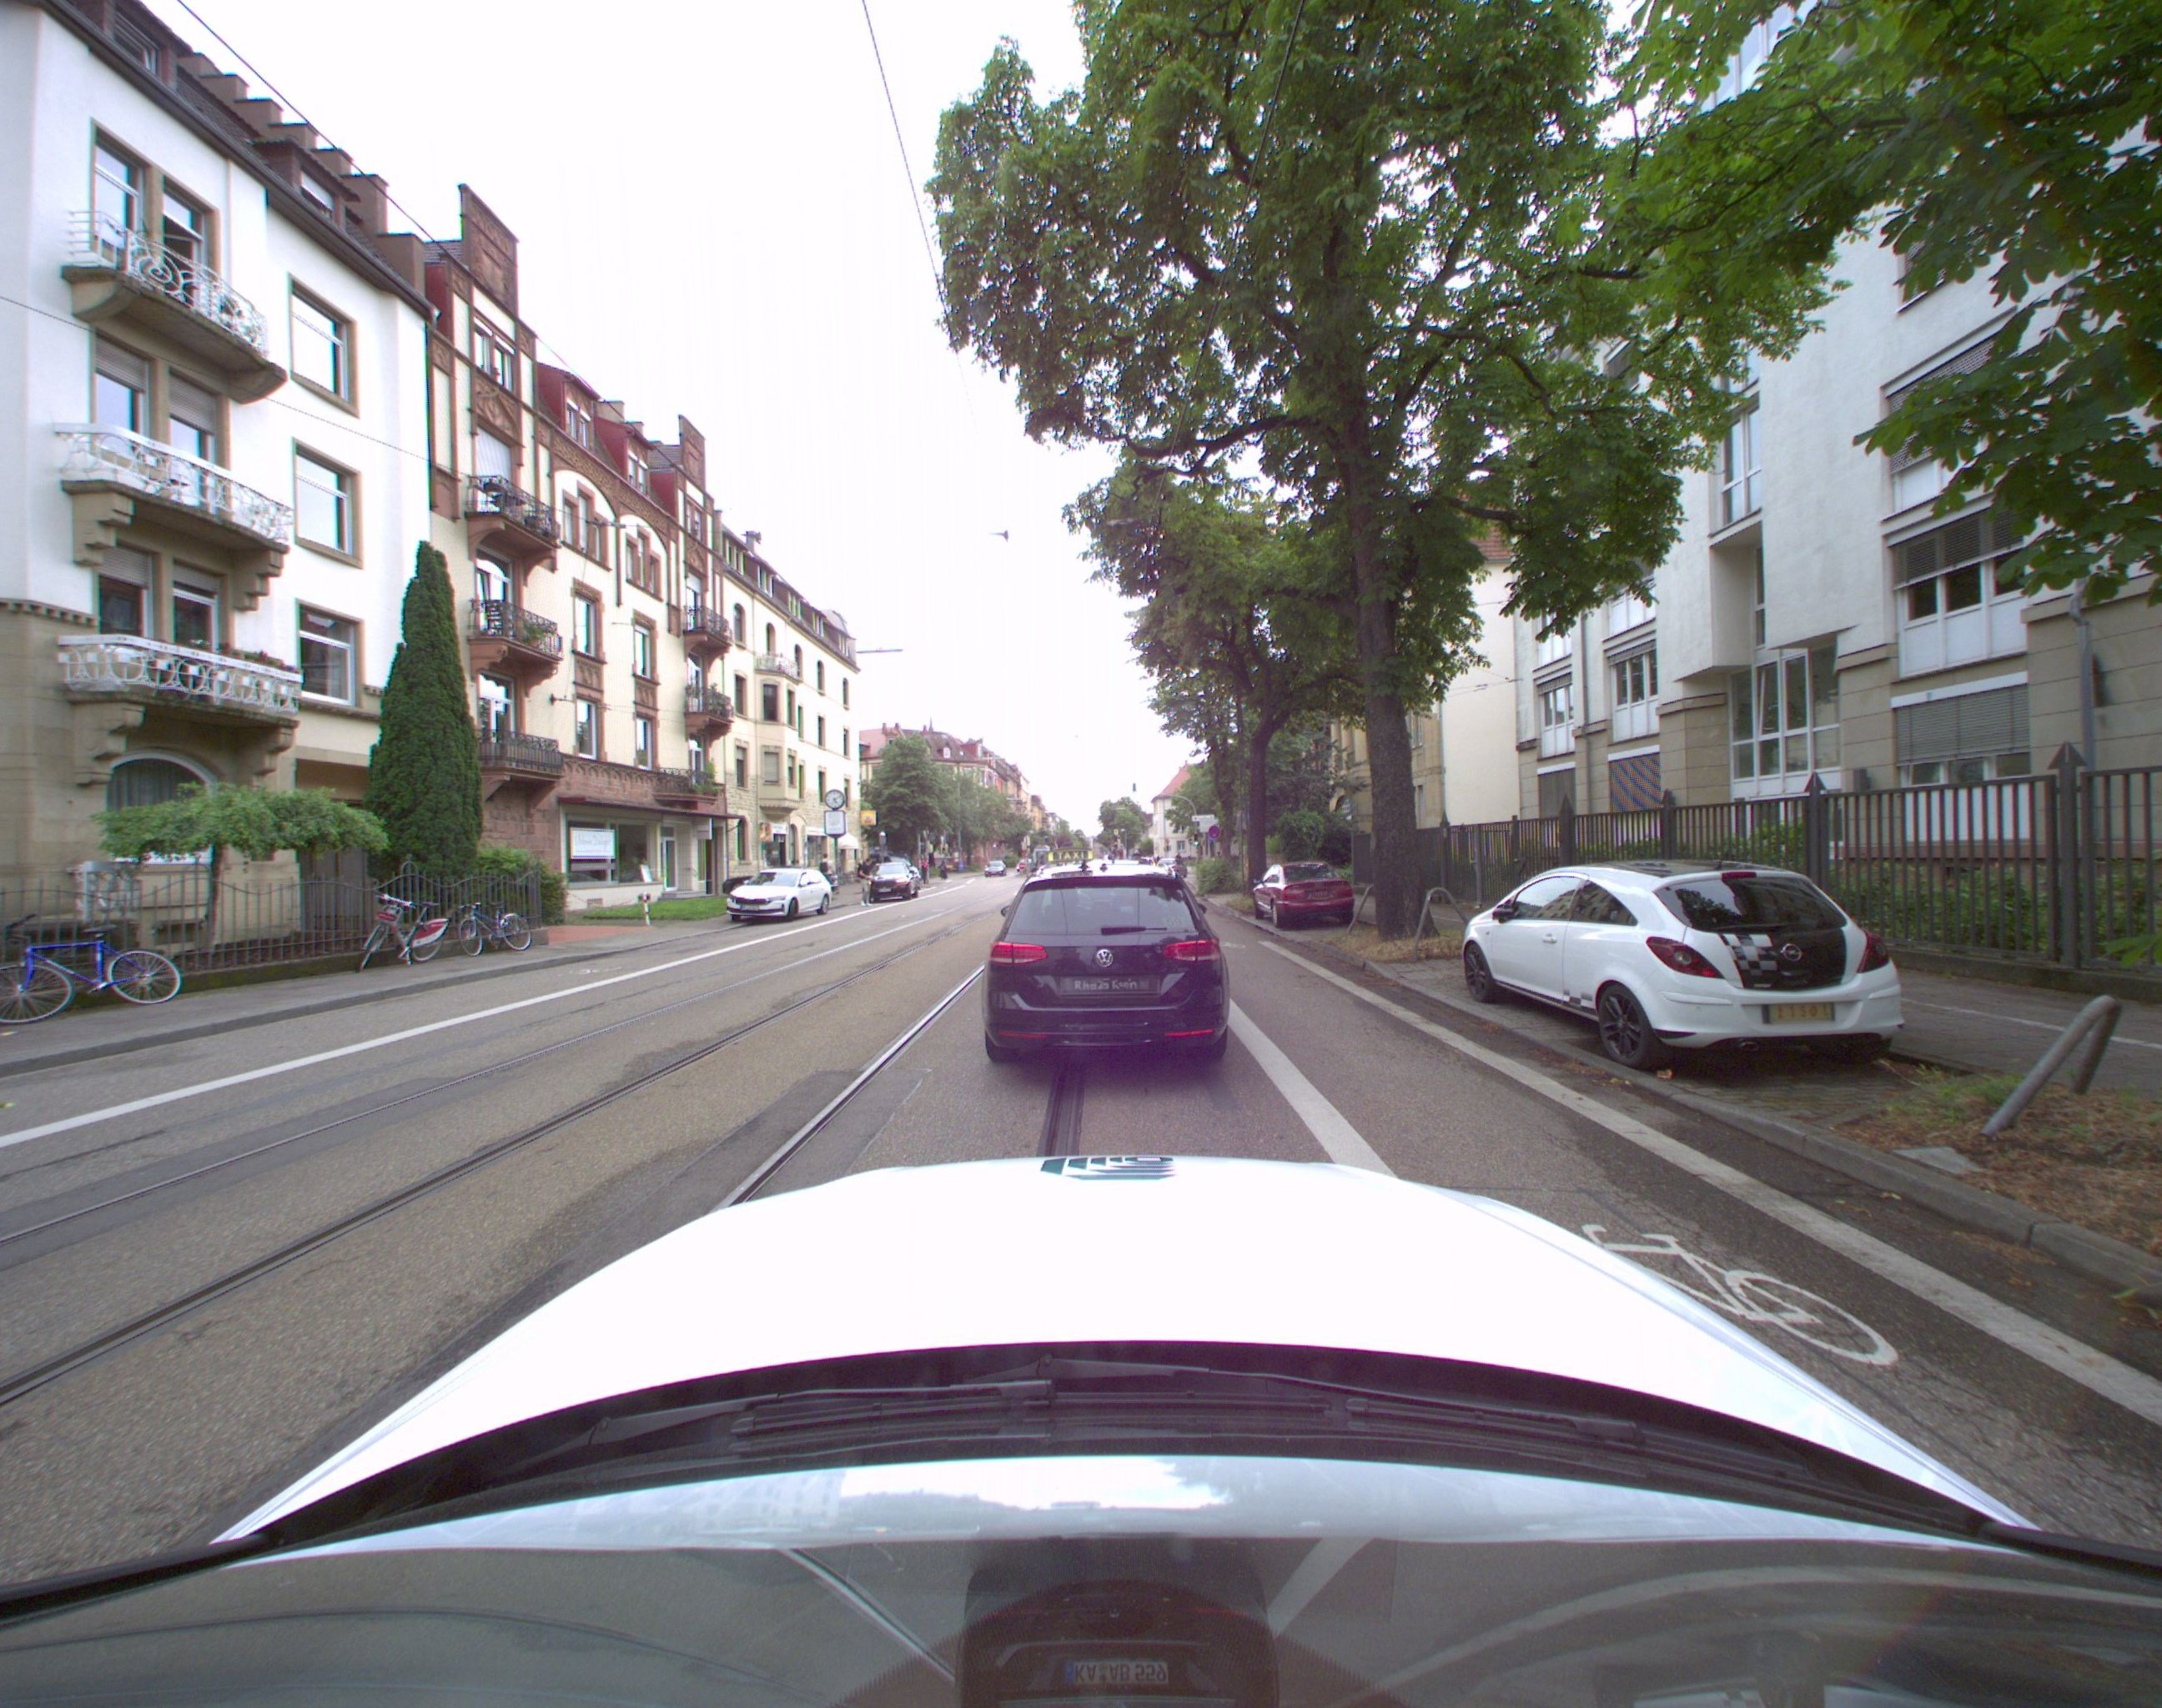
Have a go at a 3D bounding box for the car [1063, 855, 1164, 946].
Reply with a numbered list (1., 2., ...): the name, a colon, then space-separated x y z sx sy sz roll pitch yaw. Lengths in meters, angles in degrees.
1. car: 0.633 0.816 16.167 1.717 1.546 4.002 -1 0 2

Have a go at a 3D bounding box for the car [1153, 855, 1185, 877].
1. car: 6.373 0.872 59.383 1.986 1.577 4.001 -1 -1 2

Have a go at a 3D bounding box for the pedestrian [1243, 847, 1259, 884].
1. pedestrian: 8.622 0.586 41.264 0.630 1.815 0.726 -2 -1 -1

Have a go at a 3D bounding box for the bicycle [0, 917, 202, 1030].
1. bicycle: -10.864 1.266 8.894 0.356 0.928 1.663 -21 -1 4

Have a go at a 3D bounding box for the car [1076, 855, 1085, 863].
1. car: -0.097 1.134 181.969 1.715 1.622 3.864 -2 0 1

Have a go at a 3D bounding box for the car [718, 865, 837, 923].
1. car: -8.937 1.115 24.430 1.741 1.484 4.609 -2 0 1

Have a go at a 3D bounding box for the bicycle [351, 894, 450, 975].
1. bicycle: -10.588 1.217 12.730 0.385 1.102 1.620 -2 0 -9

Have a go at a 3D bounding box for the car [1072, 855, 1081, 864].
1. car: -0.916 1.123 167.660 1.715 1.622 3.864 -2 0 1

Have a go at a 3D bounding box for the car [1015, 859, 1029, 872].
1. car: -7.340 1.405 101.388 1.695 1.496 3.925 -3 0 -3

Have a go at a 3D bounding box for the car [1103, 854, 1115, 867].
1. car: 4.684 1.114 136.307 2.025 2.014 4.001 -1 -1 2

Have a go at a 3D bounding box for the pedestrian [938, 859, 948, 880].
1. pedestrian: -11.425 1.294 67.414 0.587 1.663 0.839 -2 0 1

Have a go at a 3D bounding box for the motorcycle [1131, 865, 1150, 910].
1. motorcycle: 1.757 0.963 24.017 0.445 1.235 1.907 -2 0 2

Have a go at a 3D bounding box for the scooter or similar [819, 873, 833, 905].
1. scooter or similar: -10.392 1.413 33.195 0.230 1.234 0.954 -2 0 2

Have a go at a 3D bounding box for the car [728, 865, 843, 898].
1. car: -13.010 1.207 36.064 4.415 1.370 1.878 1 0 -3

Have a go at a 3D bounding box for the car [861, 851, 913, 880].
1. car: -17.166 1.062 71.760 2.197 2.417 5.316 -1 0 -41

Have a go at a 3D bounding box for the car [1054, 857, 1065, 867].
1. car: -3.684 1.423 142.355 1.715 1.622 3.864 -2 0 1

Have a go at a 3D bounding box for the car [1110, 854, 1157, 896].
1. car: 2.059 0.793 32.762 1.717 1.546 4.002 -1 0 2

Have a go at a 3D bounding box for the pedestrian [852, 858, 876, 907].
1. pedestrian: -8.291 1.080 31.109 0.671 1.844 0.875 -2 0 -24

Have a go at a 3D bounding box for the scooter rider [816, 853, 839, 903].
1. scooter rider: -10.353 0.980 33.280 0.639 2.013 0.758 -2 0 2

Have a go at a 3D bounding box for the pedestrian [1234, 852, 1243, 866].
1. pedestrian: 17.082 0.531 88.365 0.612 1.553 0.577 -1 -1 -37

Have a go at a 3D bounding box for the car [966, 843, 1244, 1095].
1. car: 0.214 0.725 7.111 1.717 1.546 4.002 -1 0 2

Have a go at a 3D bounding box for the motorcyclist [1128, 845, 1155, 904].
1. motorcyclist: 1.785 0.599 24.090 0.700 1.692 0.805 -2 0 2

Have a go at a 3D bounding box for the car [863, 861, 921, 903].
1. car: -8.279 1.193 36.090 1.881 1.611 4.875 -4 0 -7

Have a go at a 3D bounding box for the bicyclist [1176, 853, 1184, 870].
1. bicyclist: 9.244 0.655 76.229 0.647 1.568 0.697 -2 0 9

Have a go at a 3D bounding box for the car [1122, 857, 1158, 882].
1. car: 3.680 0.938 49.984 1.881 1.408 4.009 -2 0 8

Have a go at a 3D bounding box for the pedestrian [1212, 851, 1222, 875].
1. pedestrian: 10.402 0.673 62.361 0.510 1.831 0.420 -5 -1 18

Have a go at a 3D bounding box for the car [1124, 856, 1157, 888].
1. car: 3.082 0.929 42.716 1.600 1.556 3.579 -1 -1 2

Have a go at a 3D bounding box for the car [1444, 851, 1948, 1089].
1. car: 4.776 0.748 7.107 1.596 1.435 3.779 -4 0 3

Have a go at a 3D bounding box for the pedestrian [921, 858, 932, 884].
1. pedestrian: -10.896 1.203 57.382 0.621 1.842 0.609 -2 -1 -1

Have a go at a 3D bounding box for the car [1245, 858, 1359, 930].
1. car: 5.062 0.845 19.221 1.596 1.399 4.229 -4 0 2

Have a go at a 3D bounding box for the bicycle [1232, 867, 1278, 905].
1. bicycle: 5.708 1.032 26.635 1.915 1.198 0.428 0 -2 -43

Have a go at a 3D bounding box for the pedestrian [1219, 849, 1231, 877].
1. pedestrian: 9.896 0.617 56.052 0.582 1.831 0.605 -5 -1 4

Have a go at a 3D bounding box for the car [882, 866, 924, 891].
1. car: -10.574 1.436 48.666 1.643 1.361 4.128 1 0 -1

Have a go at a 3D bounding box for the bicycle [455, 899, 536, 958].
1. bicycle: -10.742 1.341 14.993 0.331 0.938 1.516 -2 0 1

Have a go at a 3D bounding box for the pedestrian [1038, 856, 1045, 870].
1. pedestrian: -4.518 1.034 93.895 0.711 1.521 0.590 -2 -1 3

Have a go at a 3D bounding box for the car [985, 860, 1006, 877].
1. car: -7.882 1.315 75.254 1.604 1.422 3.484 -3 0 -1

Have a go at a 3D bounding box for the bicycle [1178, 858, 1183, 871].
1. bicycle: 9.306 0.991 76.167 0.295 1.223 1.434 -2 0 9
